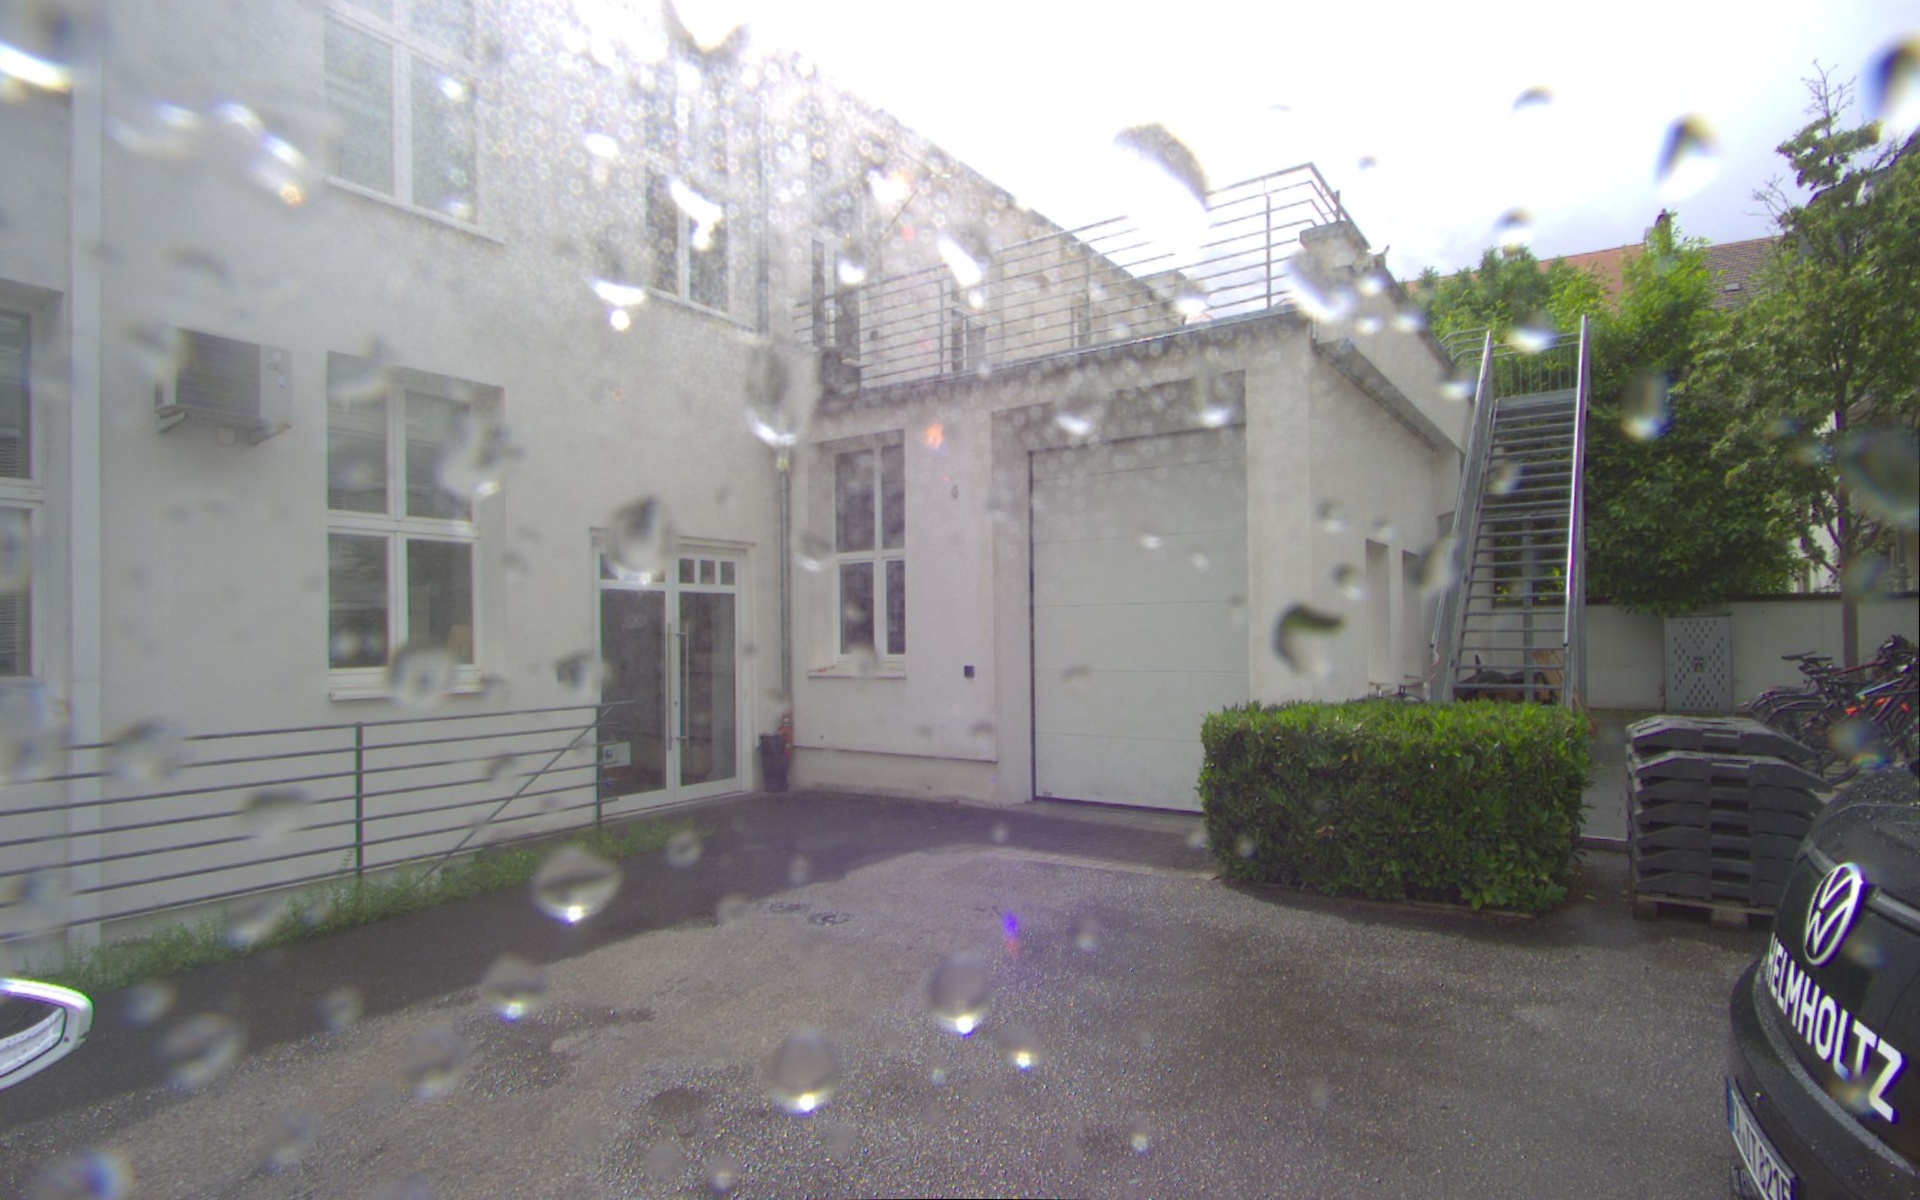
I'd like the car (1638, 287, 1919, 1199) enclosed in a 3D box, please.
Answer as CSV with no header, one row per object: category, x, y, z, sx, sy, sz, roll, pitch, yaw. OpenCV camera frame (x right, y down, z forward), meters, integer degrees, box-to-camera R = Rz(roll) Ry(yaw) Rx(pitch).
car,3.551,0.543,0.836,4.675,1.888,1.963,-3,-2,28

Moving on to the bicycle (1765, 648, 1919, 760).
bicycle,9.570,1.072,10.484,1.729,1.118,0.353,-1,0,29

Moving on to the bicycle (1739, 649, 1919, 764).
bicycle,9.052,1.062,10.186,1.729,1.118,0.344,-1,0,29

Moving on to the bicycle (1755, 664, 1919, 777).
bicycle,8.444,1.095,9.181,1.769,0.980,0.328,-1,0,29

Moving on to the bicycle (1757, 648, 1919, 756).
bicycle,9.731,1.085,10.802,1.729,1.118,0.340,-1,0,29

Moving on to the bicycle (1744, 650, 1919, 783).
bicycle,8.071,1.014,8.849,1.773,1.118,0.352,-1,-1,37

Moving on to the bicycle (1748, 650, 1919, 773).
bicycle,8.593,1.037,9.489,1.729,1.118,0.331,-1,0,29

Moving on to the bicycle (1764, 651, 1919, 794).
bicycle,7.688,0.987,8.139,1.773,1.118,0.403,-1,-1,37

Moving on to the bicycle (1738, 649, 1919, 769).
bicycle,8.748,1.050,9.812,1.729,1.118,0.341,-1,0,29
